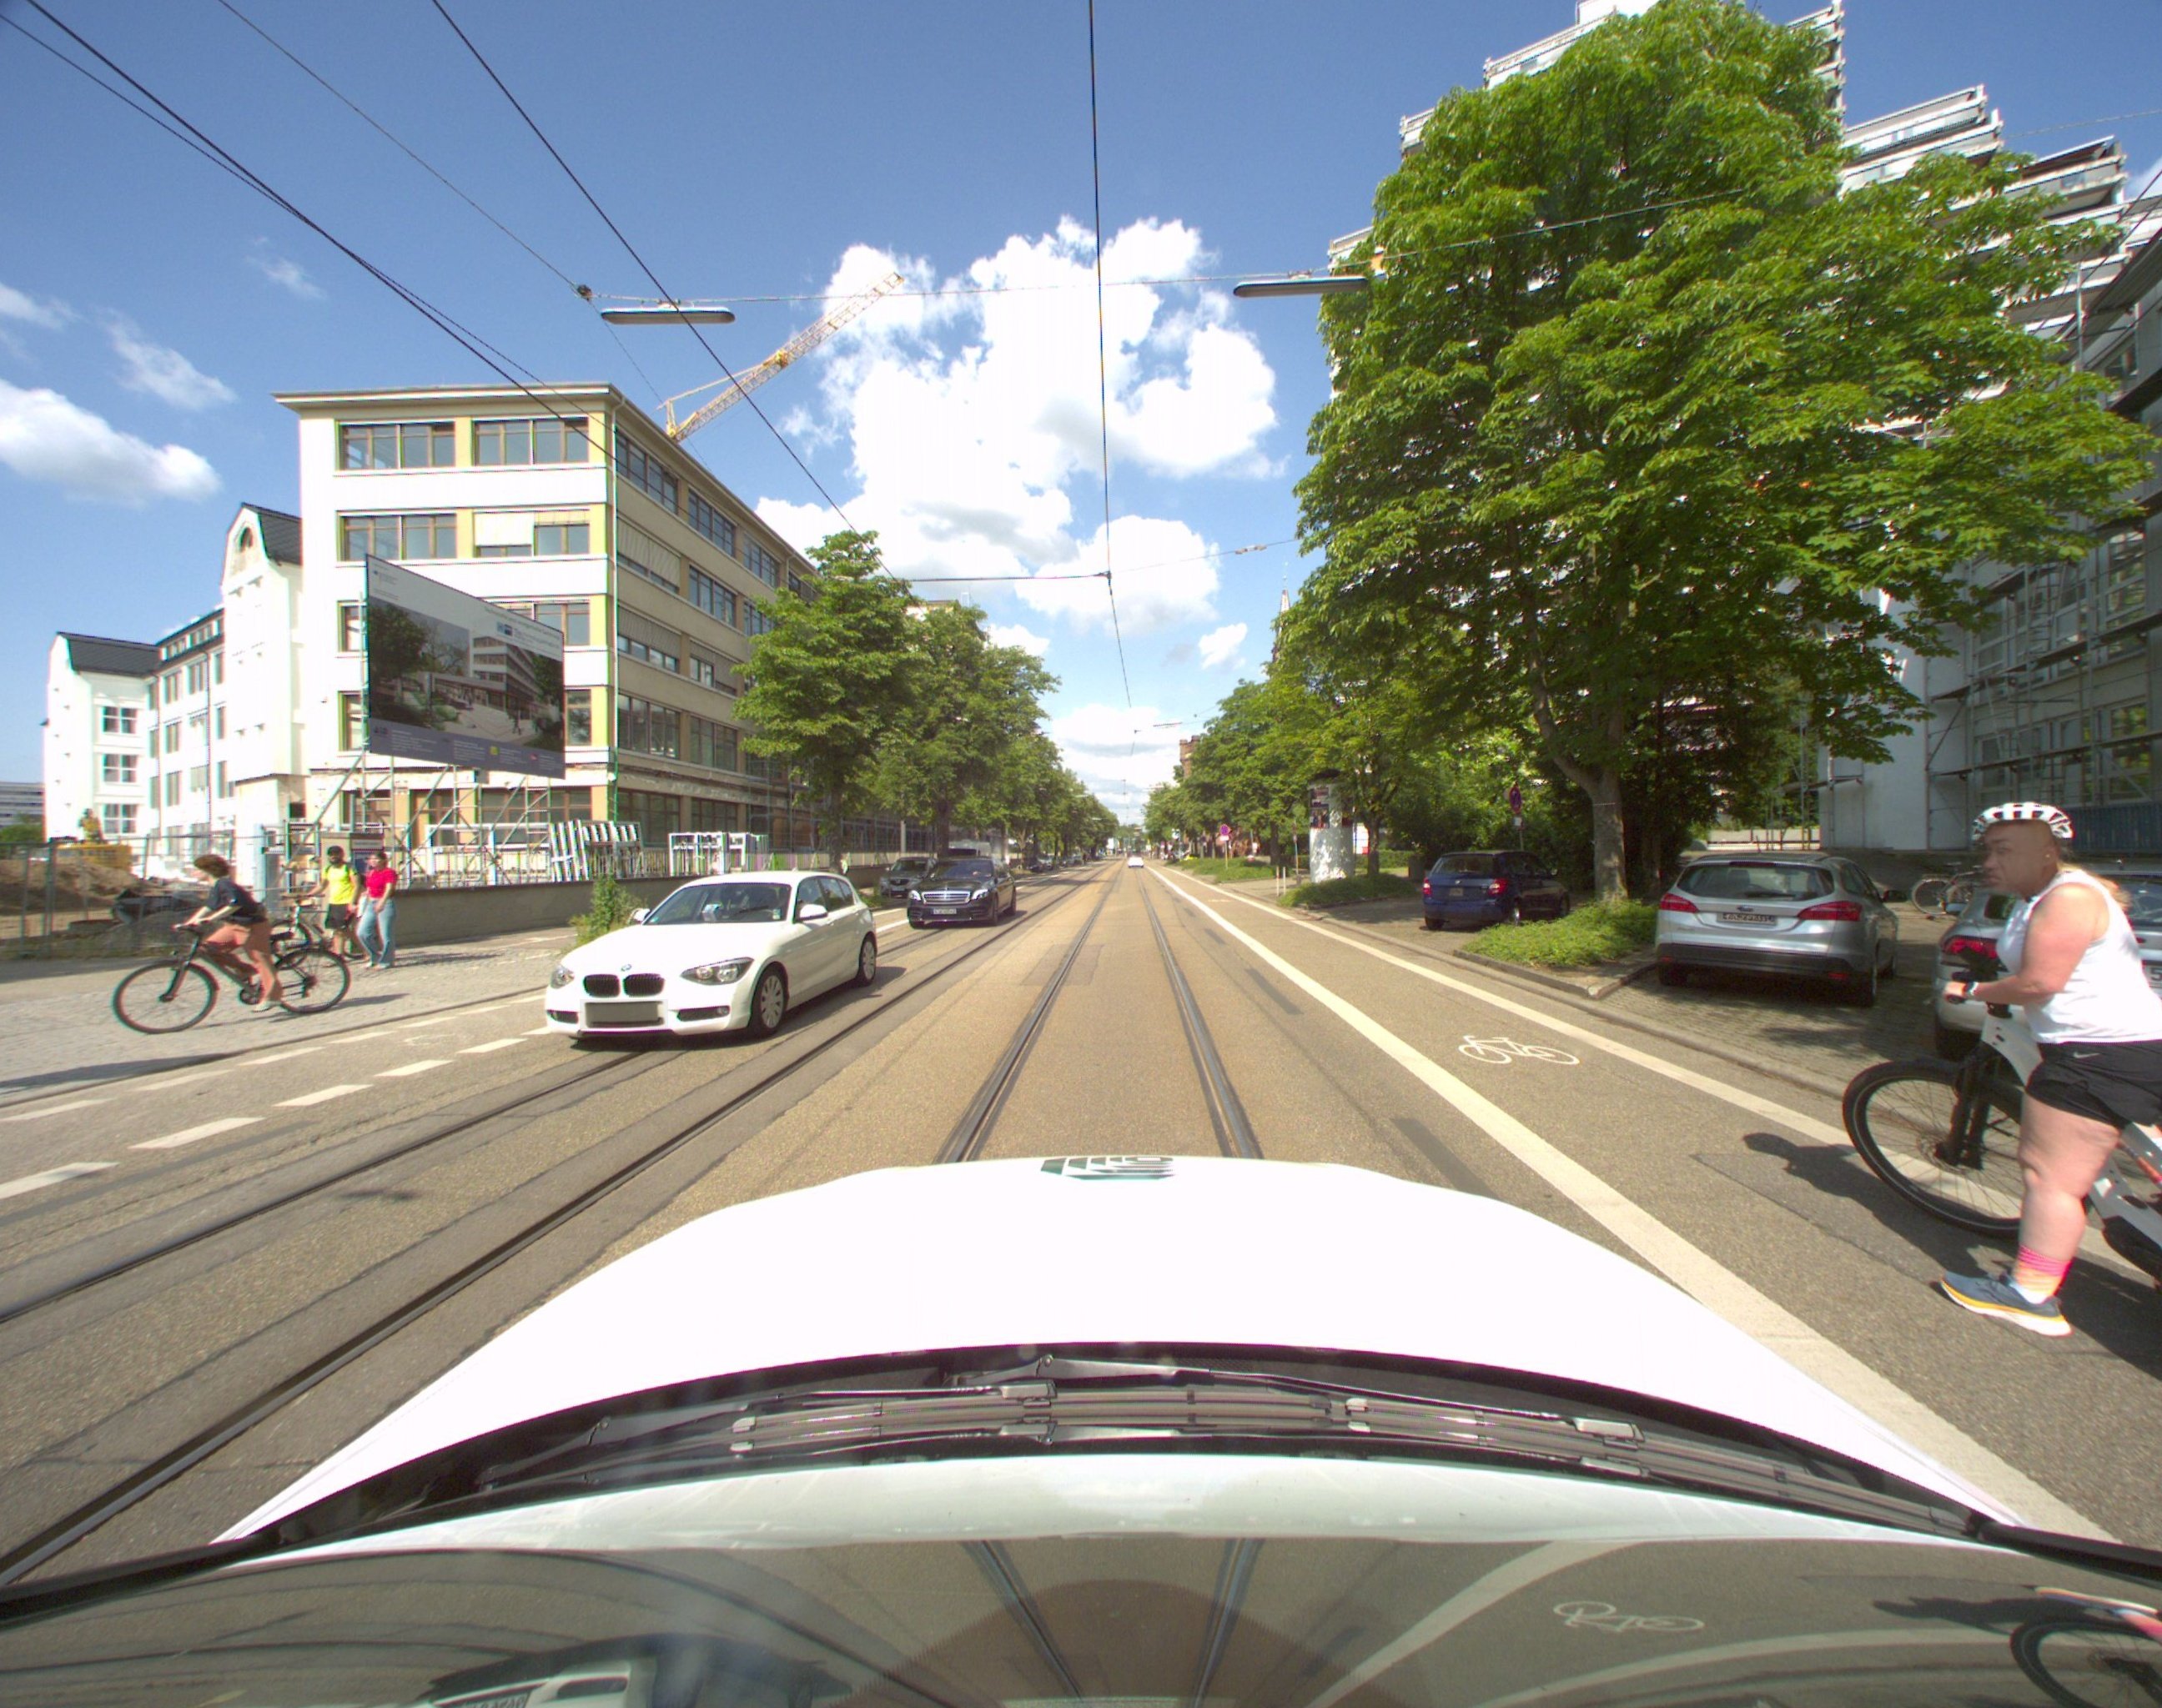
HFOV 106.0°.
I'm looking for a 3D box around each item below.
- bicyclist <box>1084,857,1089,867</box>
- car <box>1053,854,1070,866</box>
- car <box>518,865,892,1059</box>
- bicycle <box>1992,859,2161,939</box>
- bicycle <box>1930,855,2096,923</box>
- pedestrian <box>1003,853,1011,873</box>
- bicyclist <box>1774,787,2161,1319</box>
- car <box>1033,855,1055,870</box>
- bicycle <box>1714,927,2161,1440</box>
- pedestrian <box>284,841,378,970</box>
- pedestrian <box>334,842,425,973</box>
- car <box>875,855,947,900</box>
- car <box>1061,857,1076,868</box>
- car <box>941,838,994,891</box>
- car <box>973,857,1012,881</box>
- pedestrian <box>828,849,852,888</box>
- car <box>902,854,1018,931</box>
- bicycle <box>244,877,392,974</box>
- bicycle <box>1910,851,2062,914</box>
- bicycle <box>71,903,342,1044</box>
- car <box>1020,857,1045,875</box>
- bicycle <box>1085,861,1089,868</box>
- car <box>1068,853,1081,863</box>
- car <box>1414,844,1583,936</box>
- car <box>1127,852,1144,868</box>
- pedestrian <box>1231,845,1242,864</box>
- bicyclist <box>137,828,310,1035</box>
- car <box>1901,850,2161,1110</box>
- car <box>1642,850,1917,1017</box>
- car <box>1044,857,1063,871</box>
[{"bbox_3d":[0.863,1.222,129.710,0.656,1.579,0.946,1,0,2],"label":"bicyclist"},{"bbox_3d":[-2.492,0.794,106.170,1.797,1.516,4.106,-1,0,3],"label":"car"},{"bbox_3d":[-3.388,0.857,8.367,1.680,1.405,4.229,-2,-1,2],"label":"car"},{"bbox_3d":[14.765,0.649,11.935,1.809,1.095,0.454,-2,2,34],"label":"bicycle"},{"bbox_3d":[15.927,0.581,13.978,1.809,1.096,0.454,-1,1,34],"label":"bicycle"},{"bbox_3d":[-7.426,0.899,81.889,0.802,2.013,0.484,-1,0,-6],"label":"pedestrian"},{"bbox_3d":[3.303,0.575,2.866,0.884,1.529,1.088,1,0,9],"label":"bicyclist"},{"bbox_3d":[-3.767,0.849,83.910,1.797,1.516,4.106,1,0,3],"label":"car"},{"bbox_3d":[3.287,0.914,2.770,0.869,1.126,2.141,0,0,9],"label":"bicycle"},{"bbox_3d":[-10.927,0.732,11.882,0.705,1.793,0.661,2,1,-3],"label":"pedestrian"},{"bbox_3d":[-10.226,0.757,11.887,0.705,1.831,0.661,2,1,-3],"label":"pedestrian"},{"bbox_3d":[-6.781,0.887,32.859,1.797,1.662,4.106,1,0,3],"label":"car"},{"bbox_3d":[-1.795,1.235,118.528,1.797,1.516,4.106,1,0,3],"label":"car"},{"bbox_3d":[-6.003,0.543,43.585,1.762,2.639,5.326,1,0,3],"label":"car"},{"bbox_3d":[-5.697,0.945,52.931,1.797,1.516,4.106,1,0,3],"label":"car"},{"bbox_3d":[-10.006,0.603,33.814,0.761,1.620,0.594,1,-1,3],"label":"pedestrian"},{"bbox_3d":[-2.675,0.804,19.055,1.793,1.508,4.539,-3,0,2],"label":"car"},{"bbox_3d":[-11.285,1.016,12.128,0.444,1.286,1.741,-1,0,5],"label":"bicycle"},{"bbox_3d":[16.585,0.521,14.981,1.809,1.096,0.454,-1,0,34],"label":"bicycle"},{"bbox_3d":[-8.909,1.152,8.449,0.641,1.166,1.945,1,0,2],"label":"bicycle"},{"bbox_3d":[-4.354,1.037,73.413,1.797,1.516,4.106,1,0,3],"label":"car"},{"bbox_3d":[0.891,1.662,129.666,0.616,0.973,1.717,-1,0,1],"label":"bicycle"},{"bbox_3d":[-0.970,0.632,129.345,1.797,1.516,4.106,-1,0,3],"label":"car"},{"bbox_3d":[8.184,0.613,15.799,4.023,1.486,1.596,-2,0,-43],"label":"car"},{"bbox_3d":[5.764,0.597,86.661,1.659,1.624,3.621,-1,0,1],"label":"car"},{"bbox_3d":[16.890,0.052,88.626,0.973,2.014,1.094,1,-1,2],"label":"pedestrian"},{"bbox_3d":[-8.827,0.760,8.423,0.873,2.013,0.834,-1,0,2],"label":"bicyclist"},{"bbox_3d":[7.716,0.704,5.976,4.261,1.420,1.705,-1,1,-35],"label":"car"},{"bbox_3d":[7.886,0.703,9.086,3.824,1.474,1.634,0,1,-39],"label":"car"},{"bbox_3d":[-3.114,1.120,91.965,1.797,1.516,4.106,1,0,3],"label":"car"}]
